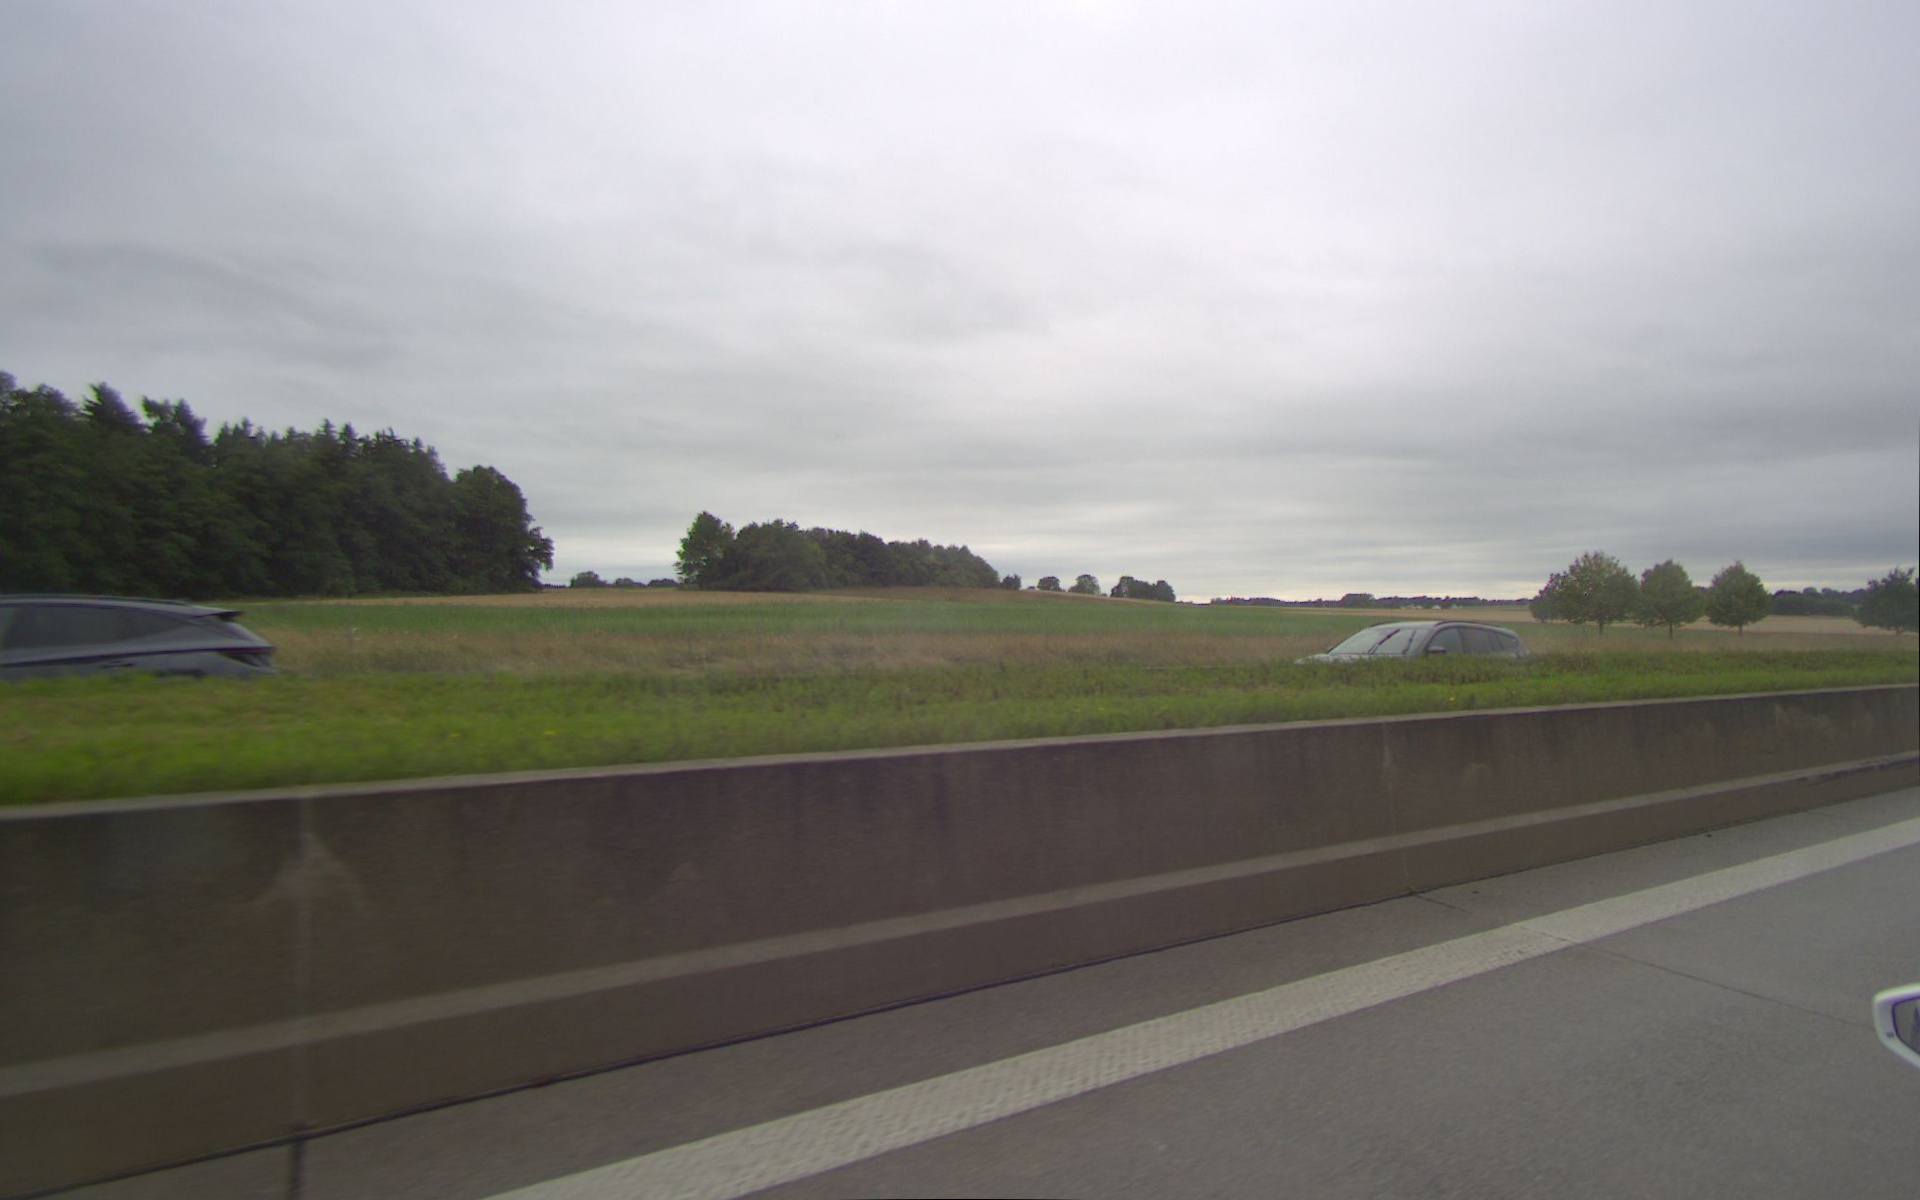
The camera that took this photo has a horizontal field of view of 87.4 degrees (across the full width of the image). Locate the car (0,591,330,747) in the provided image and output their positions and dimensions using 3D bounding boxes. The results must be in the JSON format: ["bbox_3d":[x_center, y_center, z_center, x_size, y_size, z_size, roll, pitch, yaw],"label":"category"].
[{"bbox_3d":[-8.879,0.631,9.824,4.573,1.405,1.593,1,-1,-33],"label":"car"}]

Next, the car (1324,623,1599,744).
[{"bbox_3d":[7.625,1.161,15.163,4.317,1.558,1.721,1,0,-32],"label":"car"}]
